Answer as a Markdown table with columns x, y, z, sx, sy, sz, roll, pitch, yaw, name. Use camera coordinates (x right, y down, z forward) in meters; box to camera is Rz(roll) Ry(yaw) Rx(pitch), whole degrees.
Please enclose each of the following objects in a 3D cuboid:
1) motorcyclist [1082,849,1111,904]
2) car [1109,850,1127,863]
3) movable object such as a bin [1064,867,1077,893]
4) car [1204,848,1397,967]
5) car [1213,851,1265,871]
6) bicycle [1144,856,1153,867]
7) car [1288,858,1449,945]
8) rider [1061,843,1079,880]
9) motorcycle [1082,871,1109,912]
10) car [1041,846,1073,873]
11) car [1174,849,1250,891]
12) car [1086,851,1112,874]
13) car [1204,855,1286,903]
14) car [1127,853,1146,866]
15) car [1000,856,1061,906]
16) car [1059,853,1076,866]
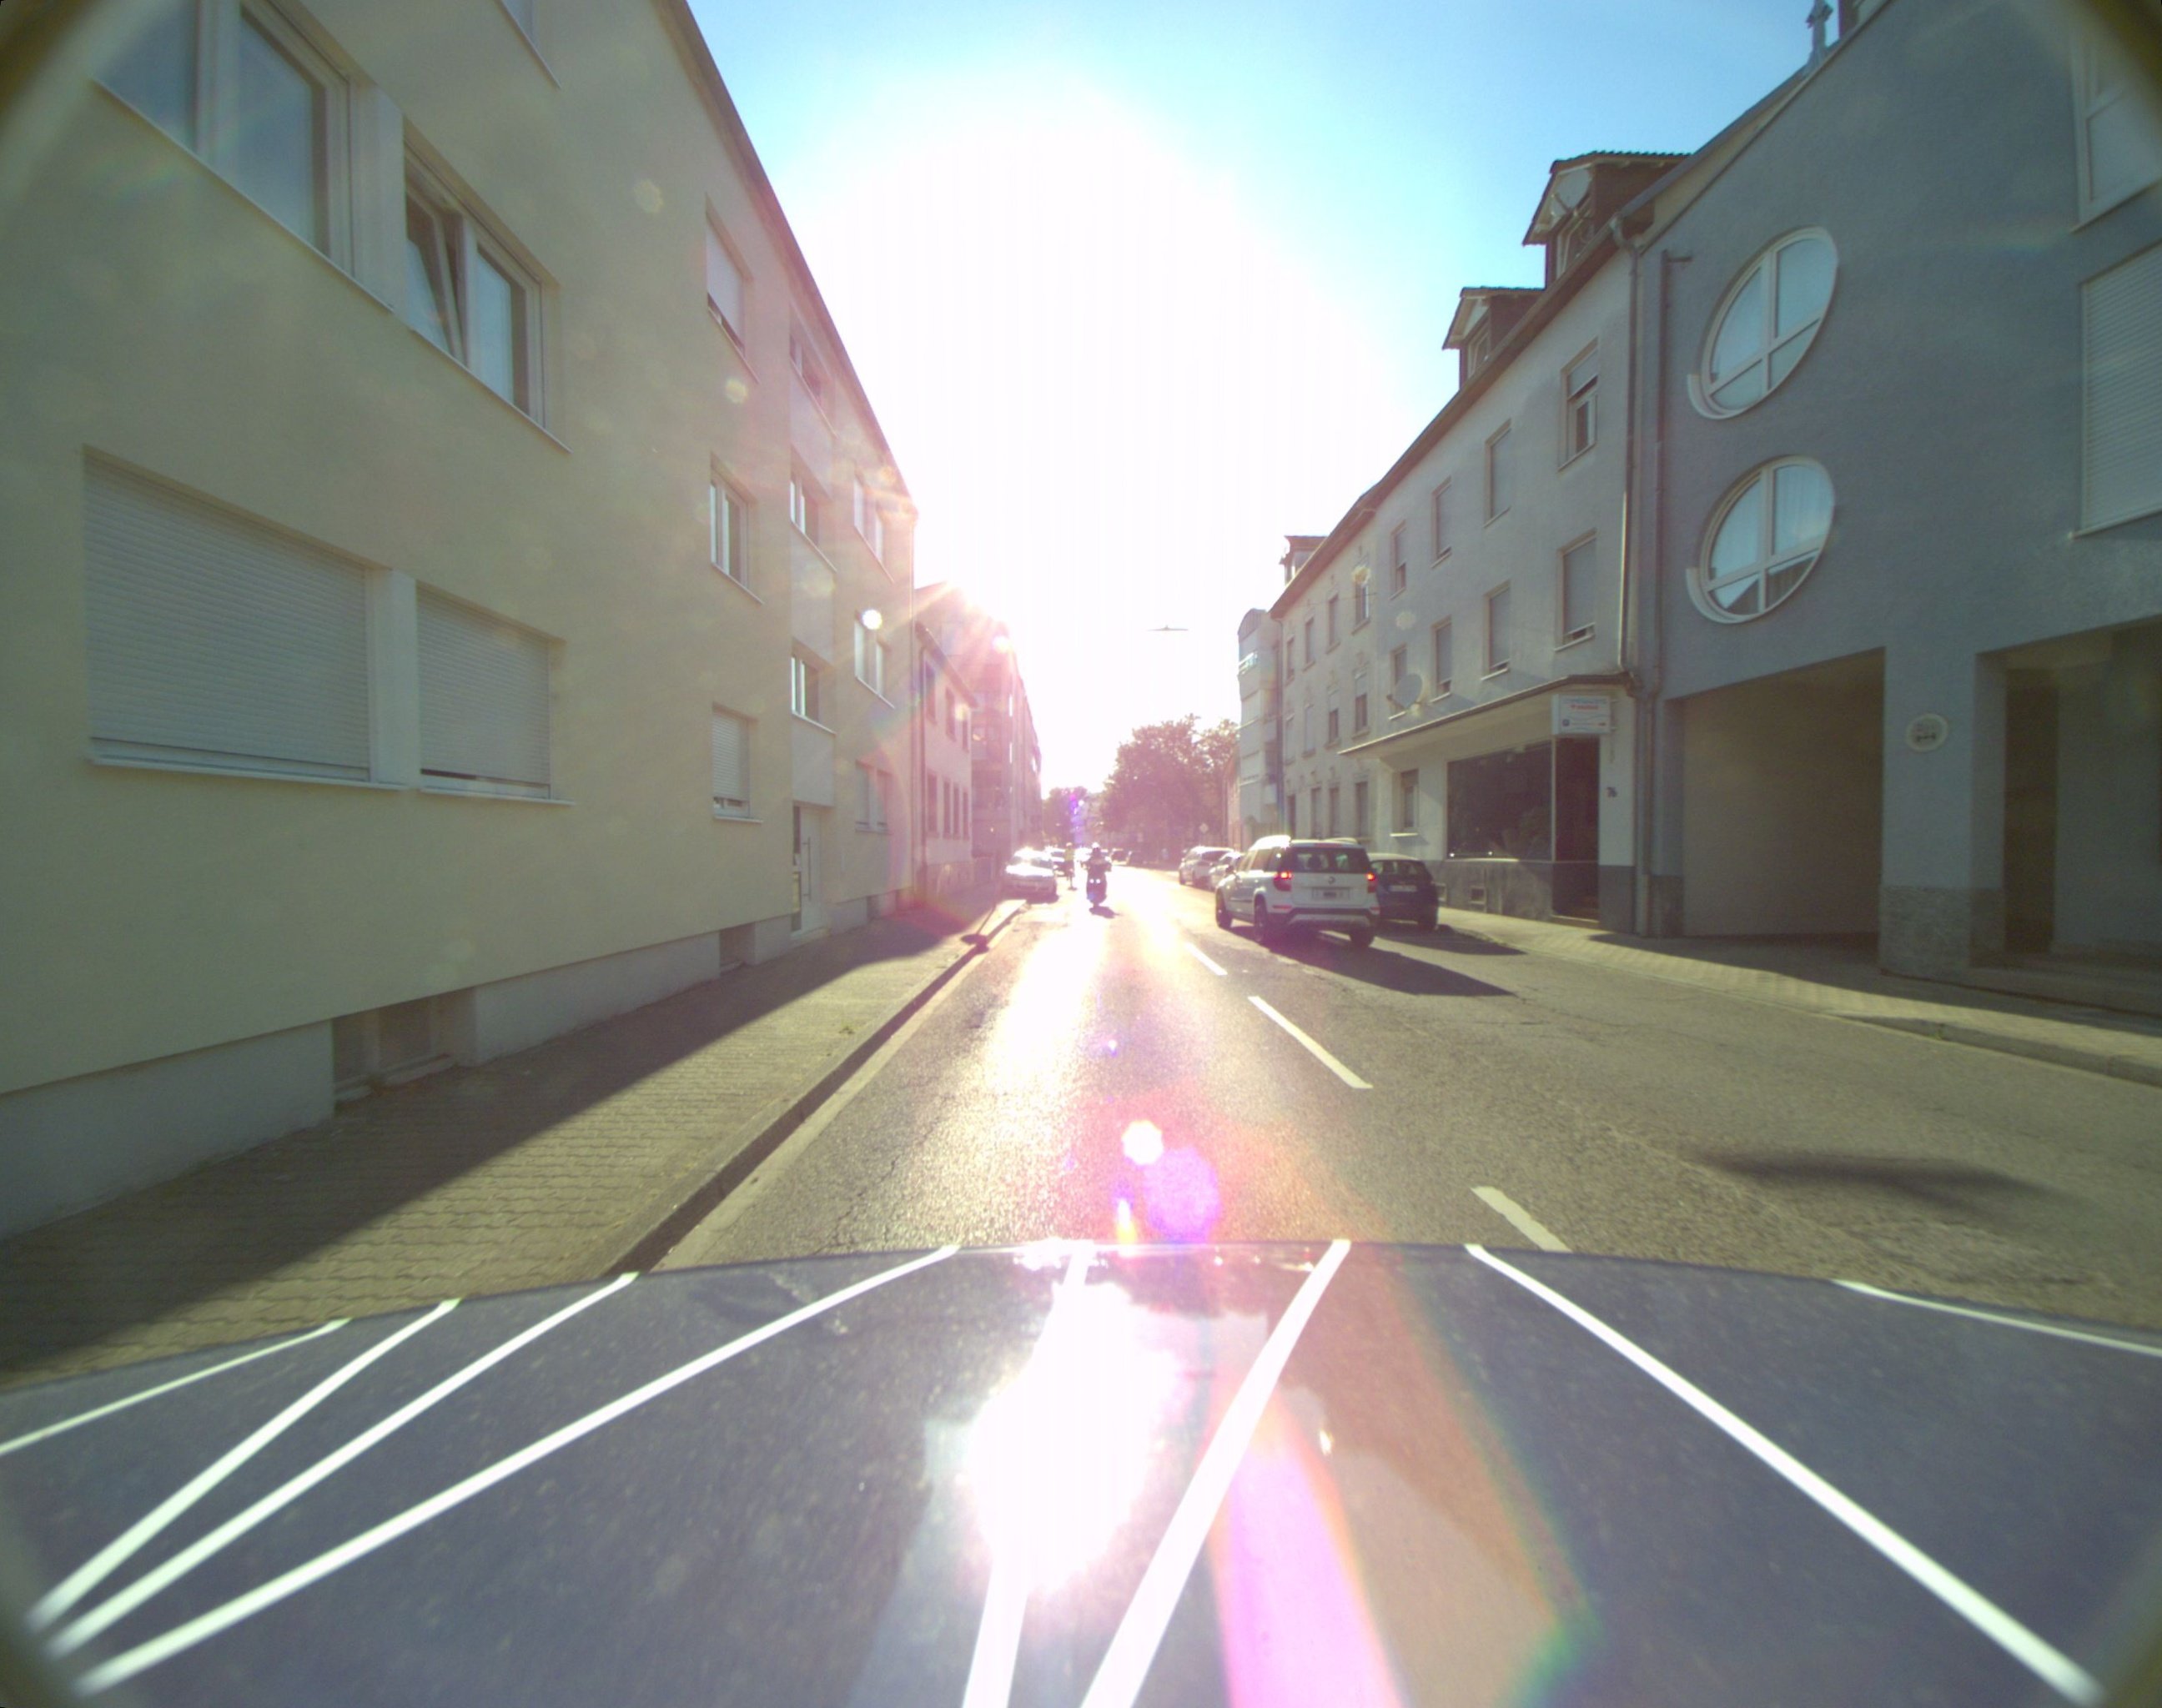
| x | y | z | sx | sy | sz | roll | pitch | yaw | name |
| --- | --- | --- | --- | --- | --- | --- | --- | --- | --- |
| 0.406 | 0.585 | 20.165 | 0.717 | 1.424 | 0.746 | 0 | 1 | -3 | motorcyclist |
| 5.215 | 0.308 | 106.576 | 1.937 | 1.695 | 5.098 | -3 | 1 | -3 | car |
| -0.478 | 1.132 | 33.385 | 0.456 | 1.027 | 1.839 | -3 | 2 | -3 | movable object such as a bin |
| 3.566 | 0.779 | 13.230 | 1.812 | 1.691 | 4.190 | 2 | 0 | -4 | car |
| 12.664 | 0.541 | 61.021 | 3.777 | 1.521 | 2.000 | 1 | 0 | 0 | car |
| 6.530 | 0.704 | 73.451 | 0.705 | 0.997 | 1.941 | -1 | 1 | 2 | bicycle |
| 5.753 | 0.879 | 15.773 | 1.735 | 1.491 | 3.957 | 0 | 1 | -2 | car |
| -0.491 | 0.296 | 33.349 | 0.655 | 1.553 | 1.082 | -3 | 2 | -3 | rider |
| 0.380 | 0.990 | 20.624 | 0.599 | 1.004 | 1.821 | 0 | 1 | -3 | motorcycle |
| -1.512 | 0.337 | 49.430 | 1.859 | 1.627 | 4.622 | 2 | 0 | 0 | car |
| 5.446 | 0.610 | 32.259 | 1.999 | 1.638 | 5.219 | -1 | 0 | -4 | car |
| 1.273 | 0.605 | 56.019 | 1.708 | 1.570 | 3.914 | -1 | 1 | -2 | car |
| 5.657 | 0.814 | 26.709 | 1.769 | 1.487 | 4.125 | 2 | 0 | -2 | car |
| 6.344 | 0.624 | 87.731 | 1.701 | 1.483 | 3.998 | 0 | 1 | -3 | car |
| -1.634 | 0.858 | 26.044 | 1.746 | 1.483 | 4.438 | 2 | 0 | 0 | car |
| -1.586 | 0.627 | 88.884 | 1.821 | 1.458 | 4.268 | 0 | 1 | -3 | car |
